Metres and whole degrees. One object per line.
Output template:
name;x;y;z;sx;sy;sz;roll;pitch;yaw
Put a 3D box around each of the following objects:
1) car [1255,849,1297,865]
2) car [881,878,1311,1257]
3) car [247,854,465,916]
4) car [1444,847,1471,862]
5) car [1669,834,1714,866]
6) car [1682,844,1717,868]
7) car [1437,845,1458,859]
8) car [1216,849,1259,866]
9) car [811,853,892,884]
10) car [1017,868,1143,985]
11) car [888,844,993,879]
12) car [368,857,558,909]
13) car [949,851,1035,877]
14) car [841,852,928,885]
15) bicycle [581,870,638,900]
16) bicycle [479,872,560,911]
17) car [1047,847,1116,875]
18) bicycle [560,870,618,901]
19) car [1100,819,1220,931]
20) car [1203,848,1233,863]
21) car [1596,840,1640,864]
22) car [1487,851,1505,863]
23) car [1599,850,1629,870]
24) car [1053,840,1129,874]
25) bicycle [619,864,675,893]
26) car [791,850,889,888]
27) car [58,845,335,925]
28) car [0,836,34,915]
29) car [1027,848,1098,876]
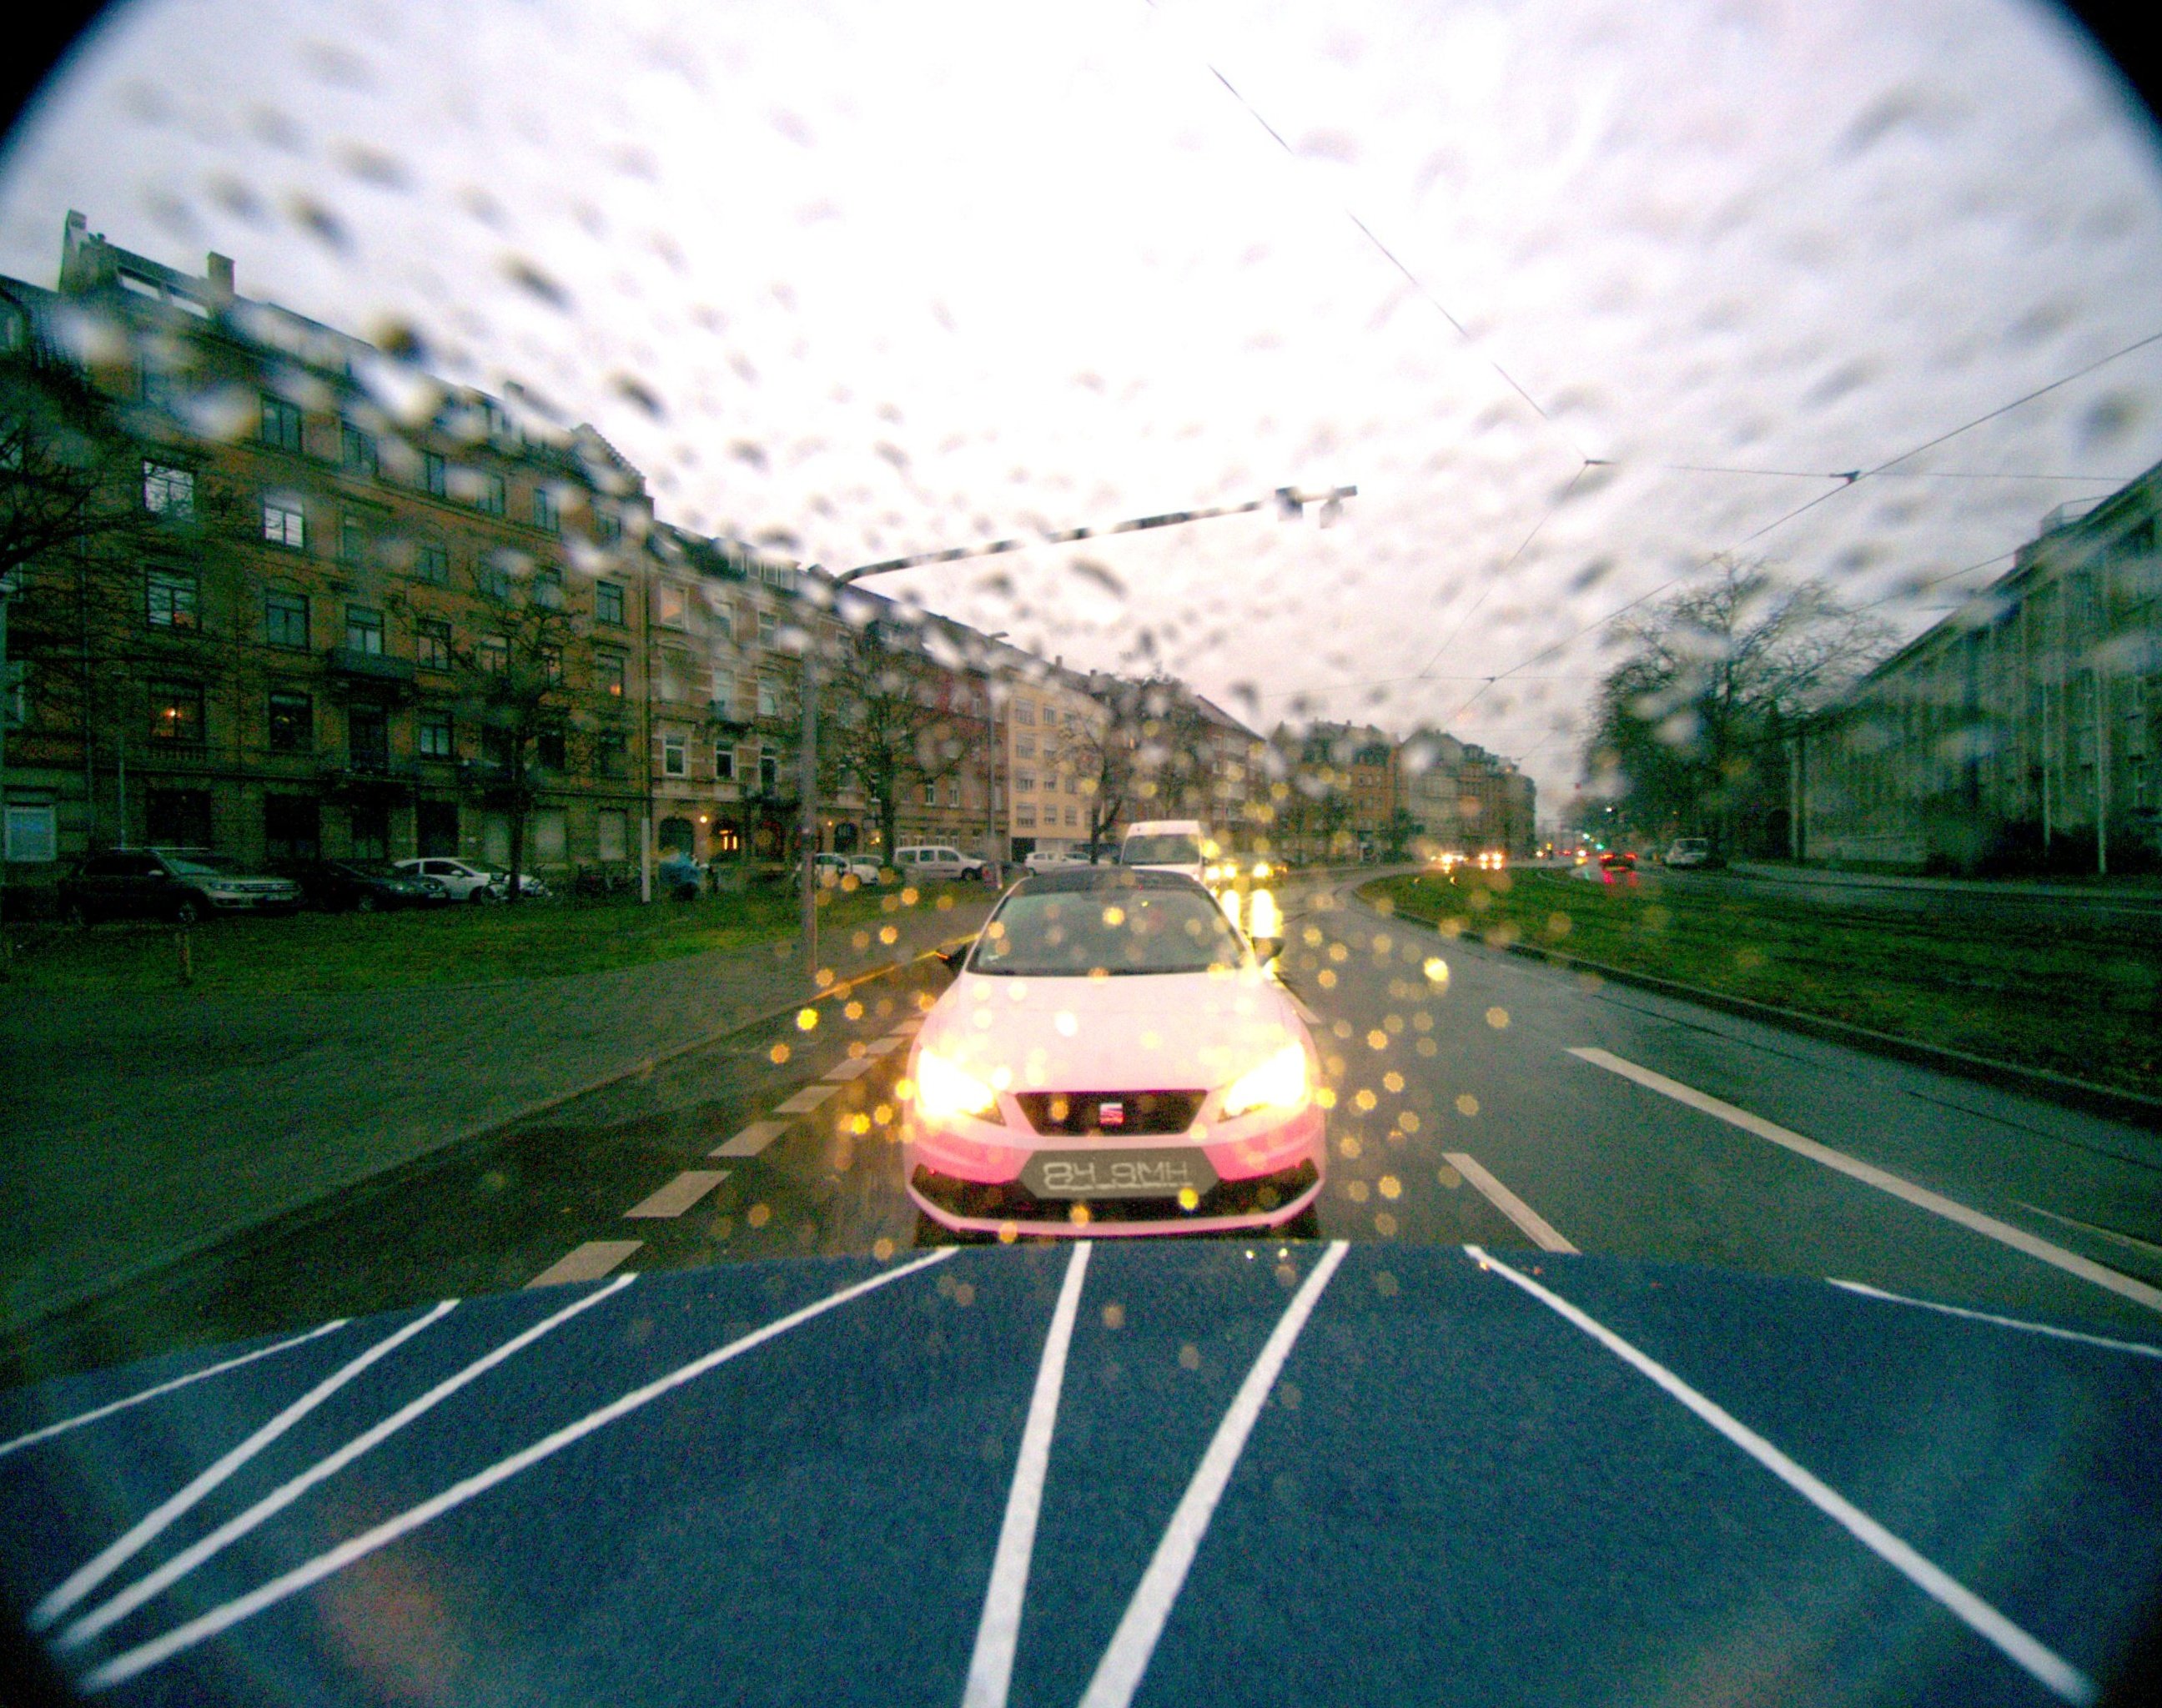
car;18.527;0.299;72.332;3.760;1.346;1.603;-3;0;11
car;0.182;0.958;4.988;1.714;1.404;3.680;-3;0;4
car;-17.955;0.750;18.953;3.742;1.346;1.677;-2;-1;-2
car;35.669;0.042;71.943;1.892;1.405;3.954;-1;0;31
car;41.877;-0.298;52.205;1.995;2.002;4.518;-3;0;35
car;39.397;0.107;48.406;1.557;1.420;2.960;-1;1;36
car;43.339;-0.272;89.785;1.719;1.608;3.946;-1;0;32
car;14.404;0.327;69.794;3.760;1.346;1.603;-3;0;11
car;-12.610;0.783;41.992;1.733;1.492;4.058;-3;-1;32
car;0.094;0.951;11.218;1.589;1.418;3.135;-1;0;4
car;-6.704;0.325;36.535;4.659;1.583;1.778;1;1;3
car;-17.142;0.787;21.214;3.856;1.329;1.698;-1;0;-1
car;-4.491;0.507;38.689;4.058;1.227;1.771;1;0;6
car;-8.808;0.637;34.192;3.430;1.343;1.664;-2;0;2
bicycle;-15.855;1.051;25.515;2.165;0.960;0.627;-2;-2;28
bicycle;-14.424;0.941;19.572;1.655;0.931;0.513;0;0;-35
car;0.004;0.435;45.754;3.998;1.406;1.641;-3;0;-2
bicycle;-16.157;1.044;24.930;2.165;0.960;0.627;-2;-2;28
car;2.184;0.452;19.117;2.127;2.366;5.644;-2;0;14
car;14.513;0.156;80.486;1.470;1.534;3.880;0;1;38
car;35.740;-0.166;50.675;1.658;1.392;4.530;-3;0;26
car;51.291;0.357;93.986;1.836;1.477;3.528;-1;0;28
car;45.059;0.484;64.155;1.822;1.426;4.664;-3;0;38
car;0.619;0.197;48.477;4.720;1.971;1.799;-2;0;-2
bicycle;-15.074;0.836;26.372;2.165;0.960;0.627;0;1;28
car;-10.003;0.609;31.664;3.462;1.435;1.615;-2;0;6
car;-19.413;0.631;16.806;3.996;1.627;1.944;0;1;4
car;-29.089;0.550;17.964;1.994;2.002;4.997;1;1;34
car;-1.029;0.453;43.706;3.770;1.424;1.762;-3;0;9
